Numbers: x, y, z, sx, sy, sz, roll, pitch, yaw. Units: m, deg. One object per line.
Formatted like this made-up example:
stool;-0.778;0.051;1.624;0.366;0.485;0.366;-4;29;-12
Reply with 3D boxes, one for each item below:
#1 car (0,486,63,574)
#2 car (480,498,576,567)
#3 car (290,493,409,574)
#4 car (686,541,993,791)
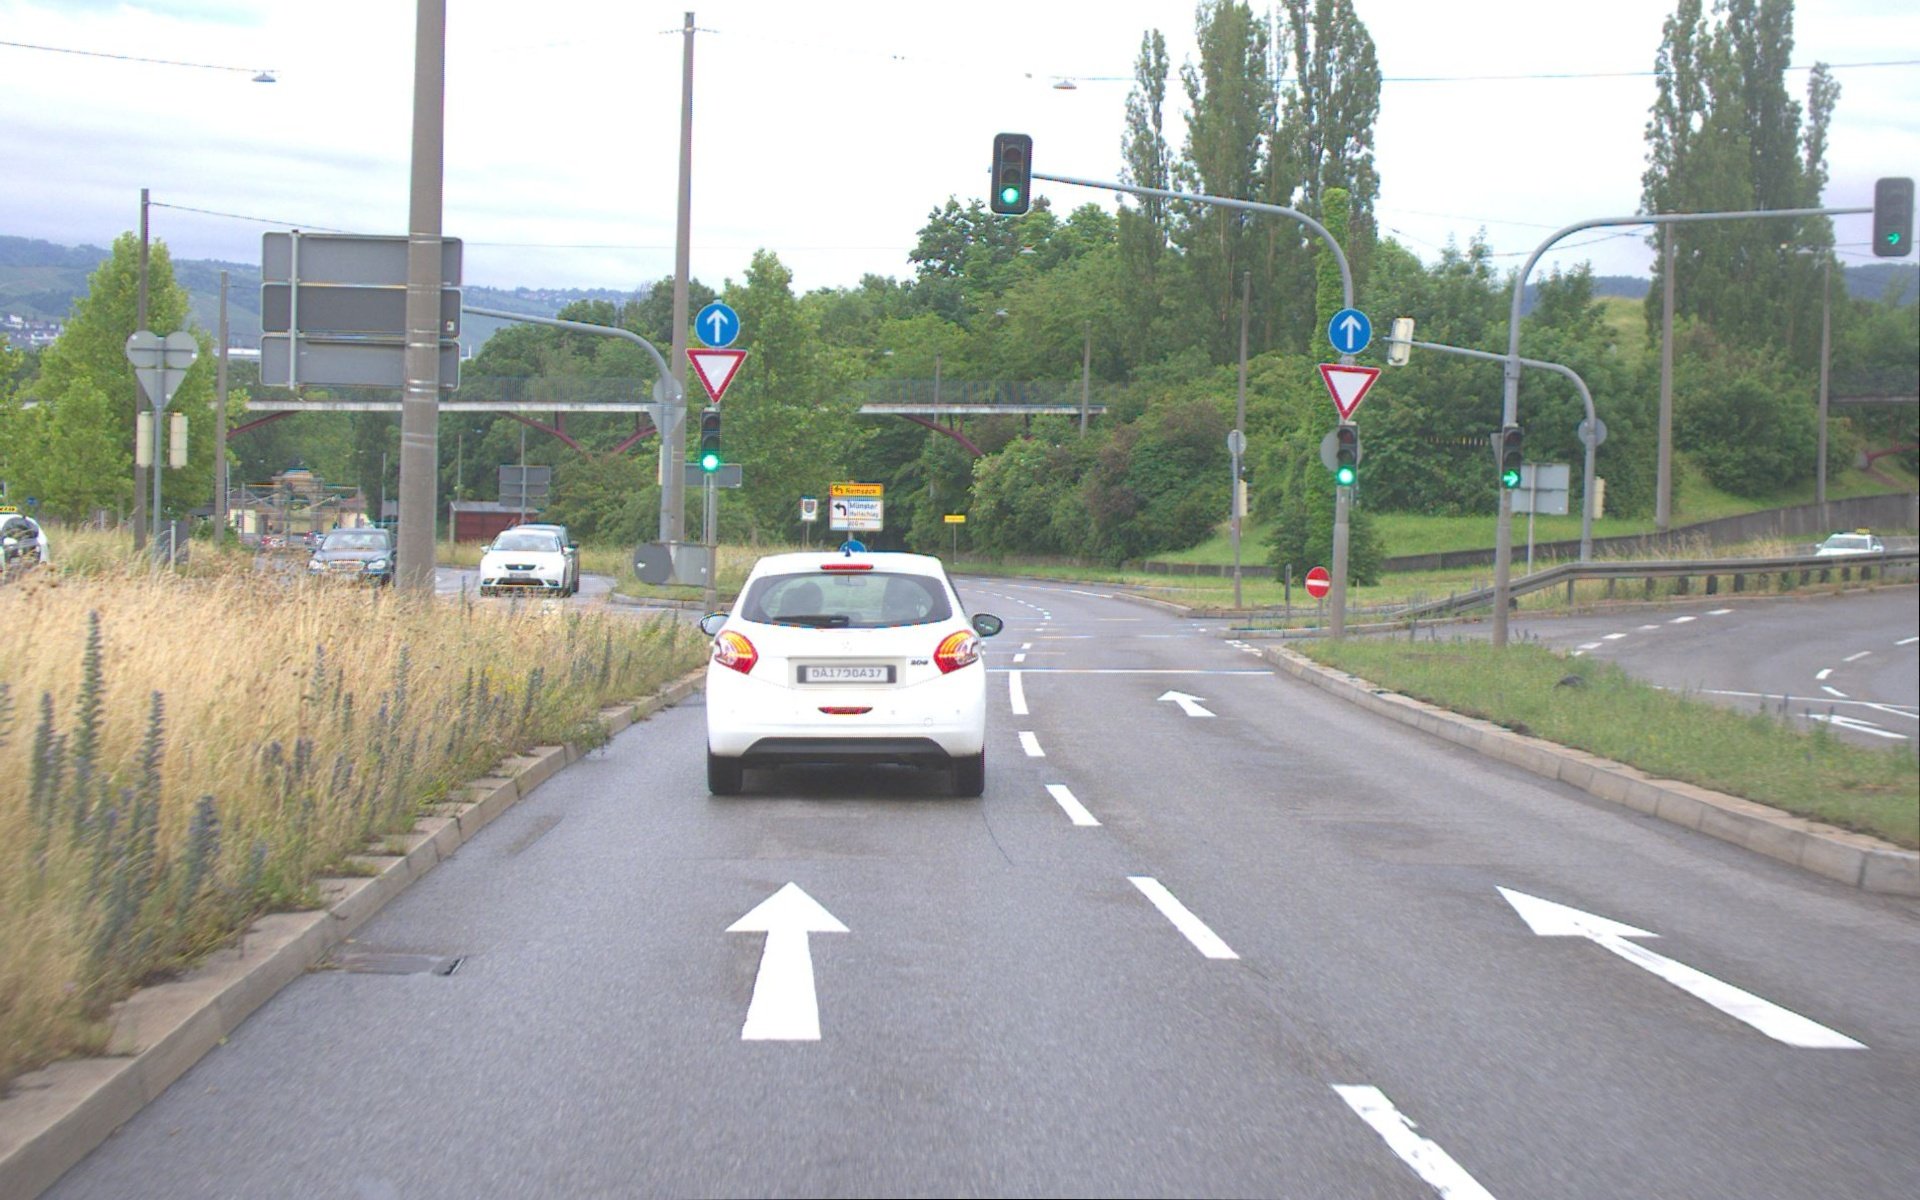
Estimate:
car;-18.600;-1.347;64.883;1.885;1.606;4.676;2;0;2
car;-9.208;-1.423;73.502;1.737;1.368;4.001;2;0;-4
car;-12.576;-1.351;70.983;1.895;1.532;4.000;2;0;-3
car;-0.683;0.370;21.770;1.708;1.435;3.690;0;0;2
